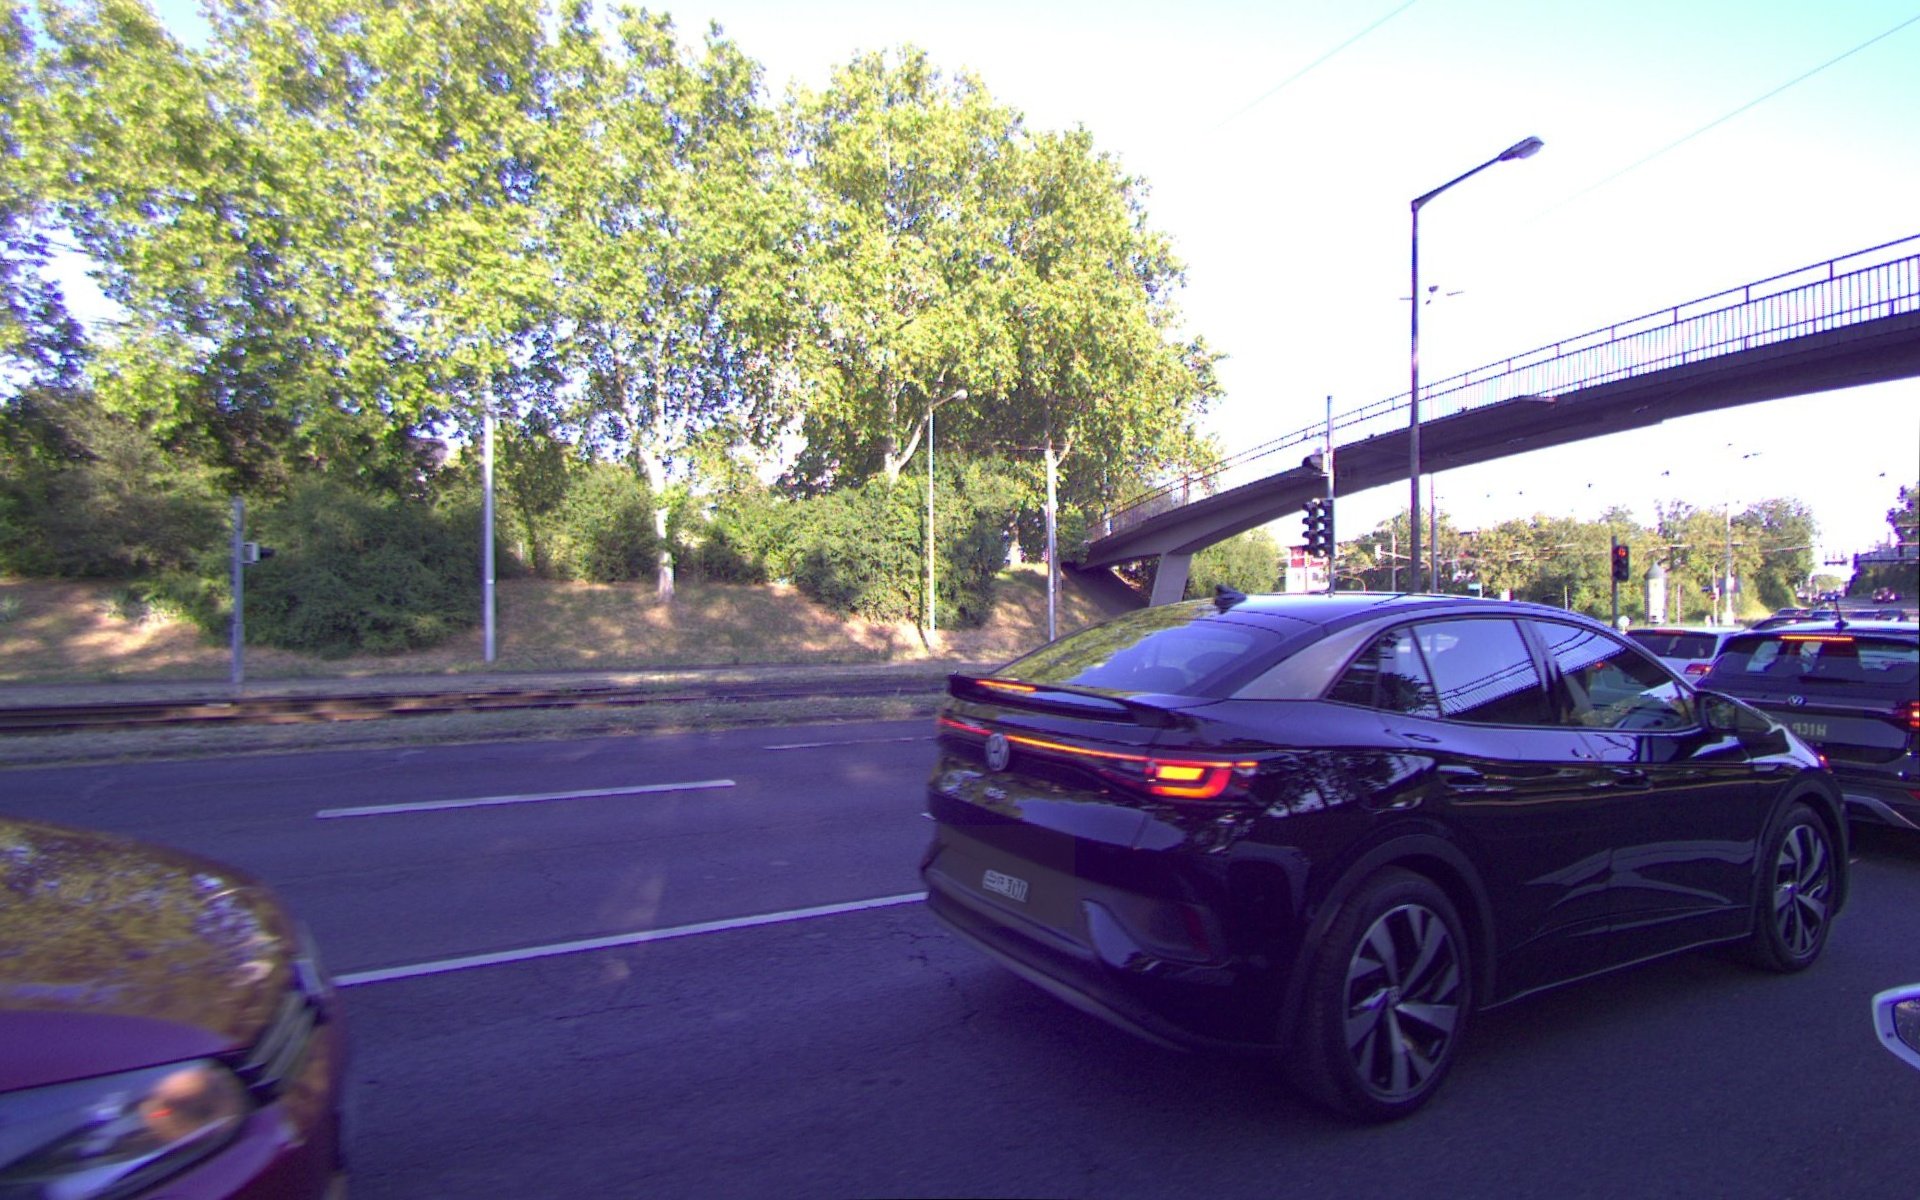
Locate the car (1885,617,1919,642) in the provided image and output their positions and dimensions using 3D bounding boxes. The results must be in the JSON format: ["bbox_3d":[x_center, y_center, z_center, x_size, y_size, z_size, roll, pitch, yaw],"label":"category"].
[{"bbox_3d":[72.173,2.192,76.241,3.955,1.795,1.869,0,0,-32],"label":"car"}]

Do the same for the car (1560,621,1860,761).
[{"bbox_3d":[9.953,1.105,13.269,4.141,1.585,1.655,0,-3,-30],"label":"car"}]

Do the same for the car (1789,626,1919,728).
[{"bbox_3d":[15.881,1.189,16.692,4.356,1.451,1.735,0,0,-28],"label":"car"}]

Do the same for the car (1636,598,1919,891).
[{"bbox_3d":[7.181,0.918,7.654,3.953,1.772,1.784,0,-3,-30],"label":"car"}]

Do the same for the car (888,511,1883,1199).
[{"bbox_3d":[1.968,0.717,4.349,4.191,1.772,1.784,0,-3,-30],"label":"car"}]

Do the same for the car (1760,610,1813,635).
[{"bbox_3d":[61.766,1.690,75.069,3.955,1.795,1.869,0,0,-32],"label":"car"}]

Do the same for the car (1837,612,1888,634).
[{"bbox_3d":[65.857,1.669,73.305,3.633,1.596,1.869,0,0,-32],"label":"car"}]

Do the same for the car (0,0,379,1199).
[{"bbox_3d":[-2.948,0.295,1.132,3.953,2.132,1.784,0,-3,-31],"label":"car"}]

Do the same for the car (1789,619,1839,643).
[{"bbox_3d":[67.612,2.414,79.513,3.955,1.795,1.869,0,0,-32],"label":"car"}]

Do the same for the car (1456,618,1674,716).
[{"bbox_3d":[10.994,1.153,18.197,3.953,1.585,1.655,0,-3,-30],"label":"car"}]
